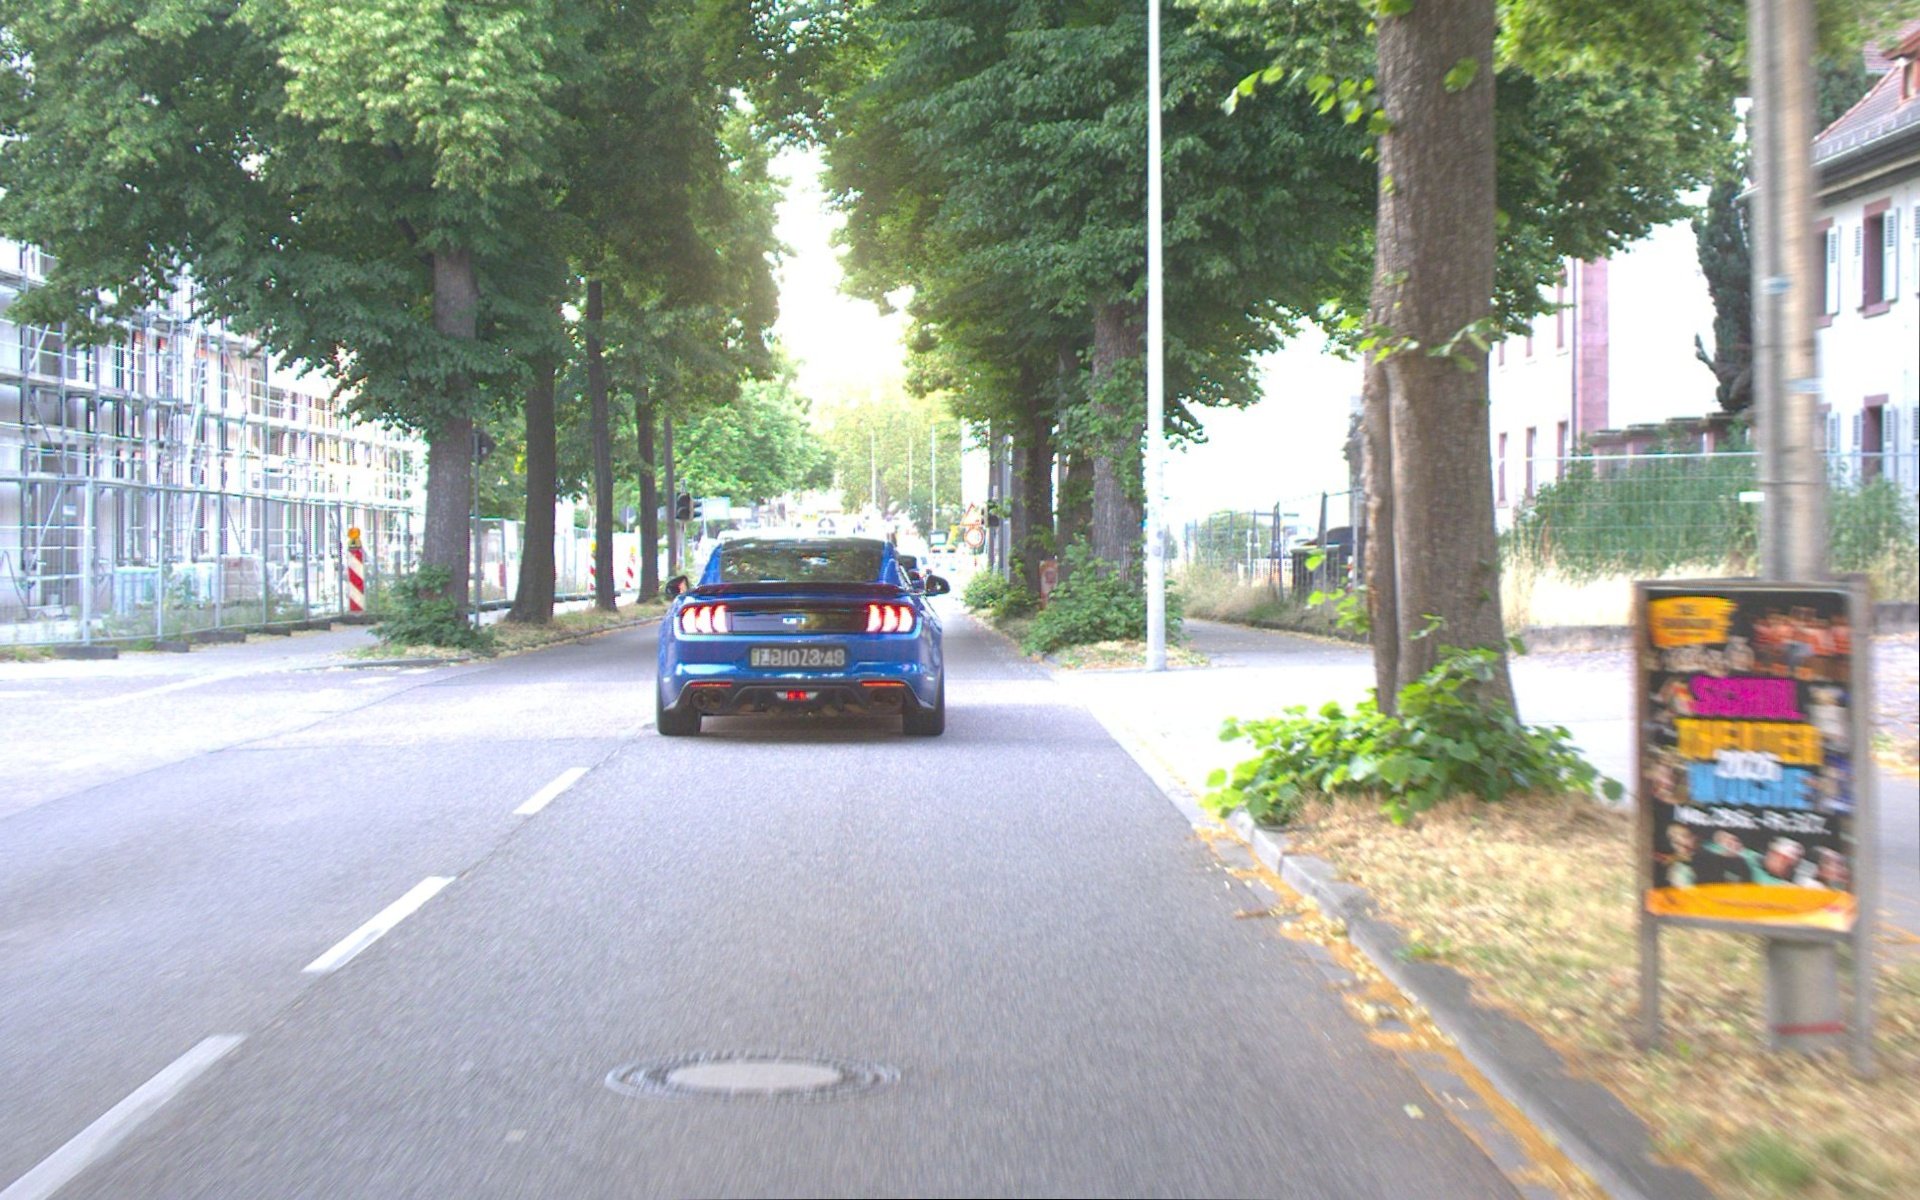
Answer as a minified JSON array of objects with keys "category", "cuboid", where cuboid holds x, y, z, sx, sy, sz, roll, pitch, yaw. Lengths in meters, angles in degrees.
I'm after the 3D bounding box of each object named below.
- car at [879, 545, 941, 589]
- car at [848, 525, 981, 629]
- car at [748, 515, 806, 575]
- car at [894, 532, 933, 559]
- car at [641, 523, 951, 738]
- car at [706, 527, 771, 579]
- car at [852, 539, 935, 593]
[{"category":"car","cuboid":[-1.642,-1.091,112.302,1.947,1.322,4.000,2,1,-1]},{"category":"car","cuboid":[-0.679,-0.389,54.390,1.947,1.522,4.000,2,1,1]},{"category":"car","cuboid":[-8.397,-2.552,158.472,2.492,2.687,5.831,0,1,-1]},{"category":"car","cuboid":[-2.374,-2.784,176.320,1.947,1.322,4.000,2,1,-1]},{"category":"car","cuboid":[-1.083,0.156,24.019,1.947,1.322,4.000,2,1,-1]},{"category":"car","cuboid":[-9.451,-2.031,147.200,2.336,2.190,5.309,0,1,1]},{"category":"car","cuboid":[-1.699,-0.896,88.927,1.947,1.322,4.000,2,1,1]}]
